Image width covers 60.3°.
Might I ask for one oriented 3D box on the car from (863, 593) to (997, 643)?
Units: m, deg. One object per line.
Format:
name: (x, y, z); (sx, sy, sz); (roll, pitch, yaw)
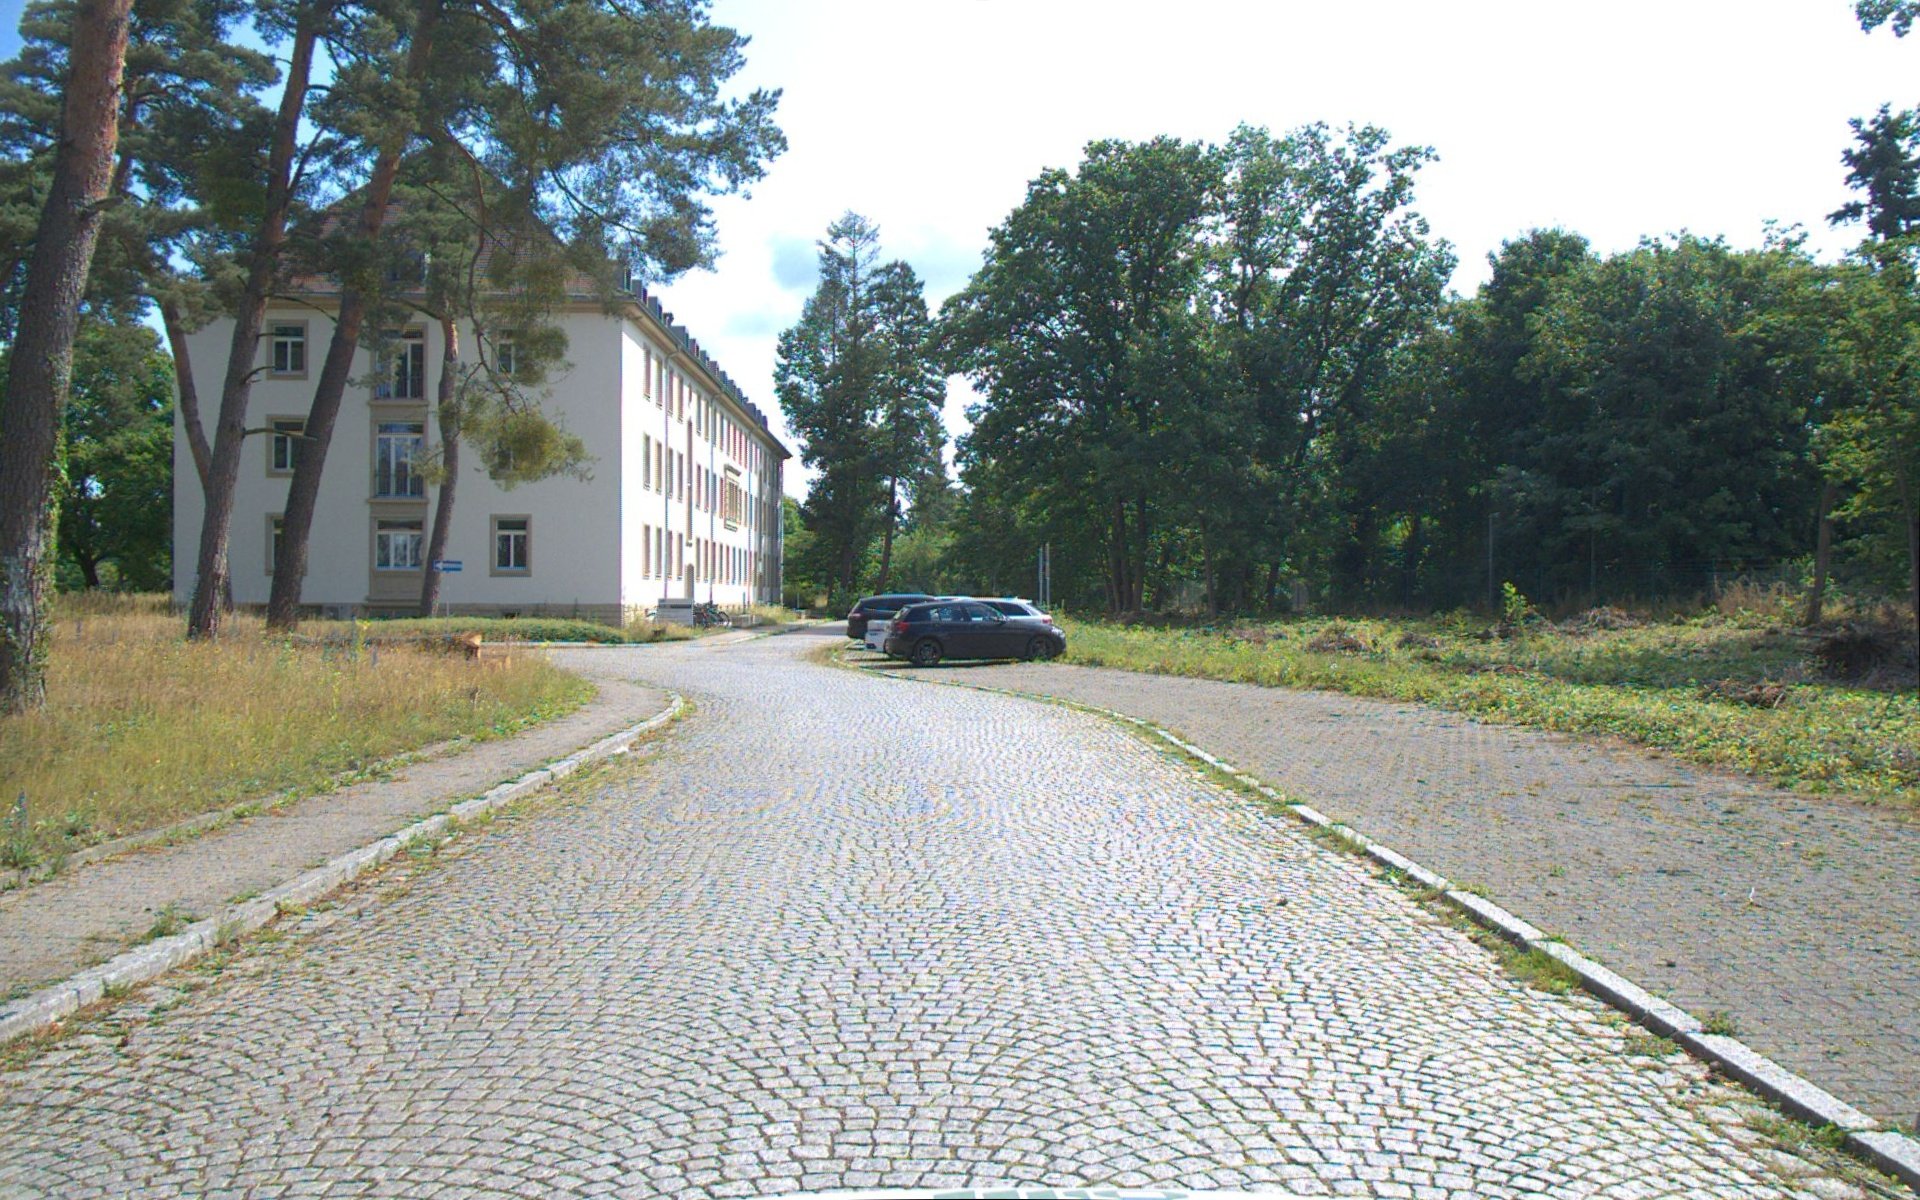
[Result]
car: (-1.002, 0.590, 54.165); (4.311, 1.510, 1.764); (-1, -1, -3)

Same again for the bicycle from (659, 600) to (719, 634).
bicycle: (-10.458, 0.650, 63.838); (2.176, 1.282, 0.623); (0, 0, 1)

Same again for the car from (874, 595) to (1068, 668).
car: (0.222, 0.704, 38.362); (4.245, 1.526, 1.826); (-1, 1, -10)

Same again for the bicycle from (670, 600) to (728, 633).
bicycle: (-10.340, 0.650, 65.507); (2.176, 1.282, 0.623); (0, 0, 1)

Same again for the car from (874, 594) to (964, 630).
car: (-1.887, 0.537, 76.957); (4.101, 1.570, 1.820); (-1, -1, 0)

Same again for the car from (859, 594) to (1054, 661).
car: (-0.122, 0.668, 41.523); (4.765, 1.498, 1.873); (-1, 1, -3)

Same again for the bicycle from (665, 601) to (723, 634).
bicycle: (-10.398, 0.669, 64.669); (2.175, 1.282, 0.623); (0, 0, 5)

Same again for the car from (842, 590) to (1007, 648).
car: (-1.069, 0.552, 48.848); (4.756, 1.580, 1.878); (-1, -1, -3)
